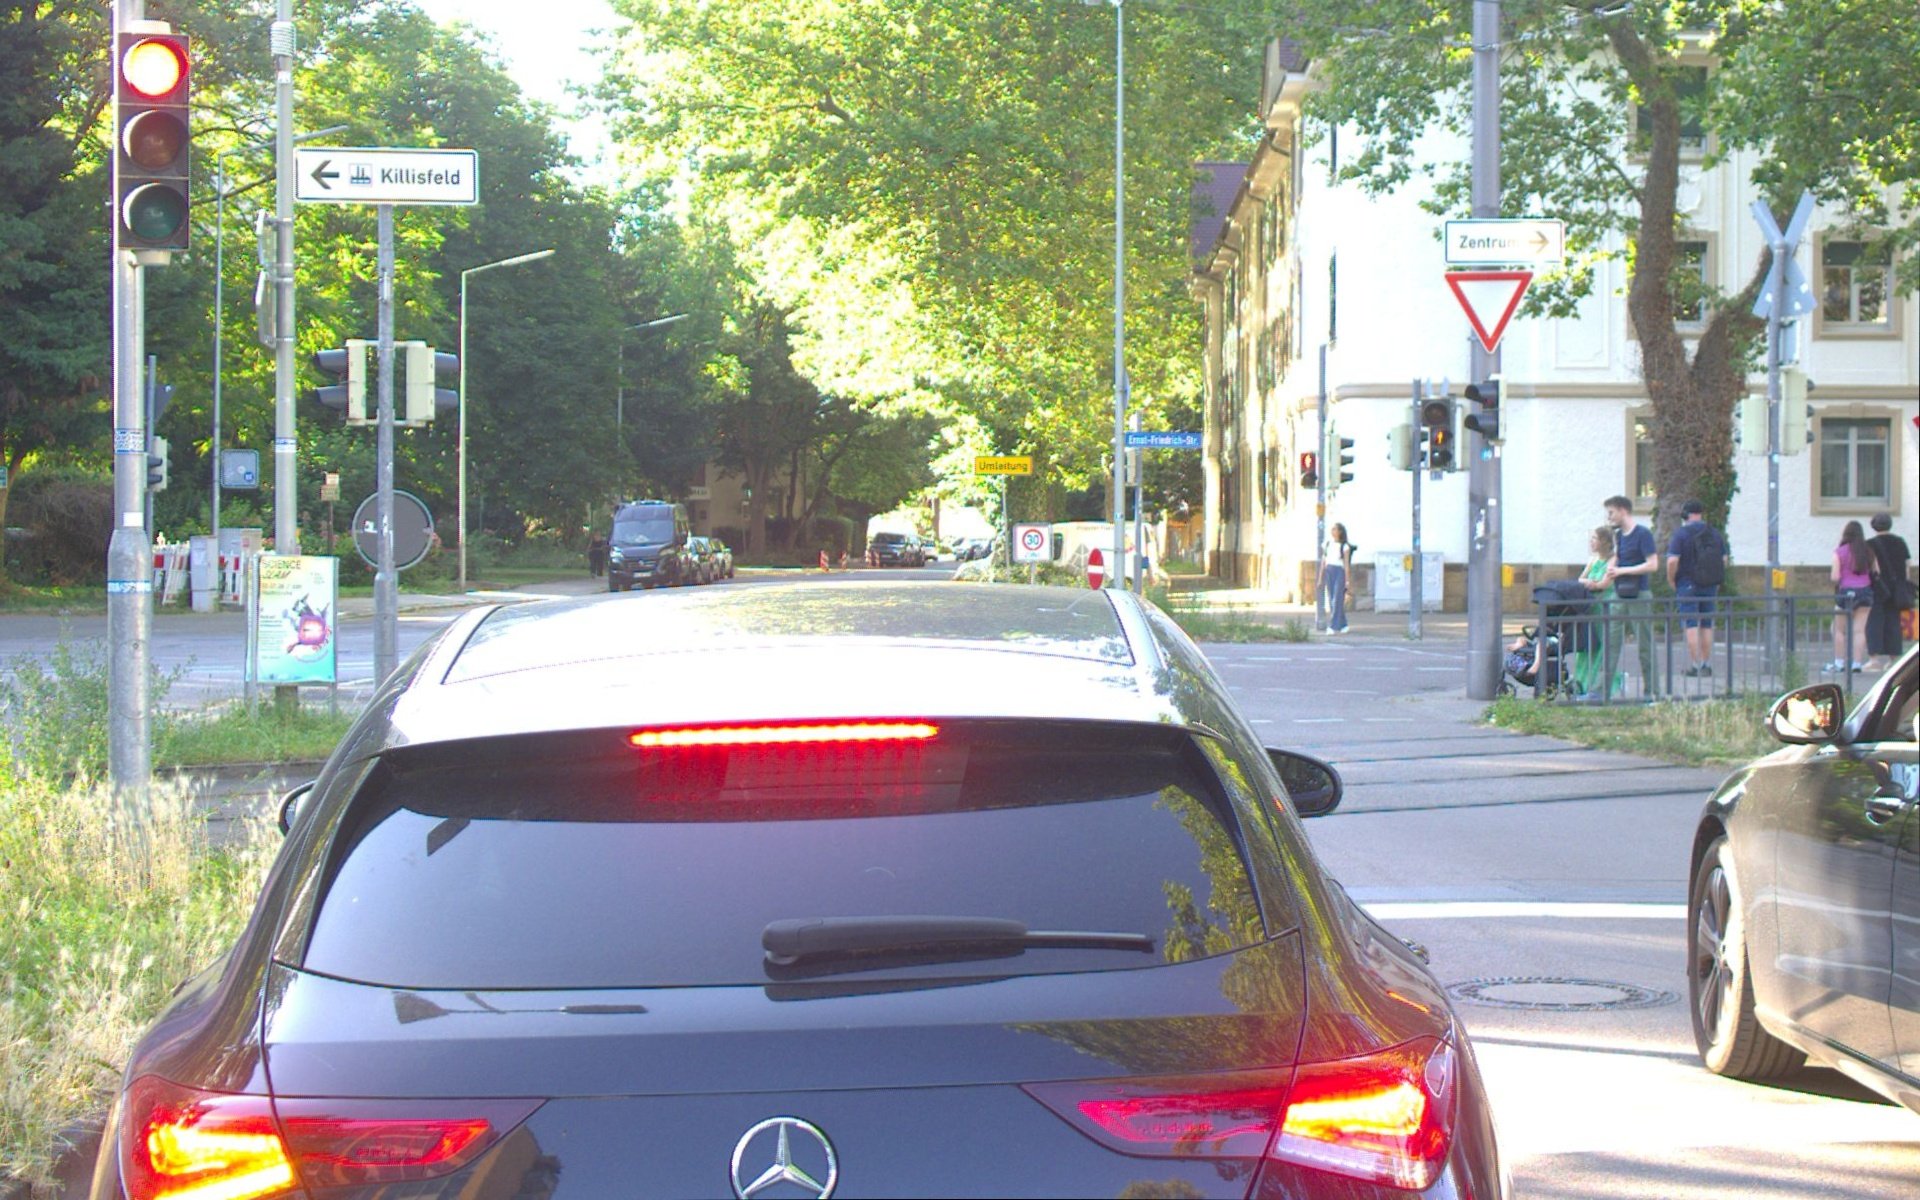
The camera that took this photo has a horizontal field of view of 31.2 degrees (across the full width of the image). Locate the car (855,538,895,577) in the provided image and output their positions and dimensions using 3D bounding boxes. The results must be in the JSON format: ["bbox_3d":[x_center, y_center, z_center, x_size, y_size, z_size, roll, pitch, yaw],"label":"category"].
[{"bbox_3d":[-3.903,-1.958,158.464,1.733,1.759,4.019,1,1,-1],"label":"car"}]

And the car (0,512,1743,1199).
[{"bbox_3d":[-0.163,0.652,5.402,1.889,1.445,4.001,1,3,1],"label":"car"}]

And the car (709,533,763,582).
[{"bbox_3d":[-8.229,-1.556,126.401,1.733,1.759,3.971,1,1,-1],"label":"car"}]

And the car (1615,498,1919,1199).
[{"bbox_3d":[2.829,0.592,7.247,1.889,1.485,4.382,1,3,-2],"label":"car"}]

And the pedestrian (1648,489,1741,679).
[{"bbox_3d":[7.525,-0.169,35.236,0.705,1.911,0.839,1,0,-4],"label":"pedestrian"}]

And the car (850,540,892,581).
[{"bbox_3d":[-3.881,-1.736,150.381,1.733,1.759,4.019,1,1,-1],"label":"car"}]

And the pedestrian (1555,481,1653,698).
[{"bbox_3d":[5.784,-0.096,30.889,0.682,1.911,0.707,1,0,-4],"label":"pedestrian"}]

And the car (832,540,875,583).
[{"bbox_3d":[-4.484,-1.636,145.561,1.733,1.759,4.019,1,1,-1],"label":"car"}]

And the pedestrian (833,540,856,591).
[{"bbox_3d":[-4.369,-1.315,130.025,0.705,1.911,0.839,1,0,-10],"label":"pedestrian"}]

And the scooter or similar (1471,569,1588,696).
[{"bbox_3d":[5.042,0.281,30.491,0.828,1.101,0.809,1,0,-6],"label":"scooter or similar"}]

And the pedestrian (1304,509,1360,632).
[{"bbox_3d":[5.843,-0.465,54.015,0.705,1.911,0.839,1,0,-4],"label":"pedestrian"}]

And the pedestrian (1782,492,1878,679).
[{"bbox_3d":[9.022,-0.151,35.668,0.705,1.911,0.839,1,0,-4],"label":"pedestrian"}]

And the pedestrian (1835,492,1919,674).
[{"bbox_3d":[9.832,-0.179,36.668,0.705,1.911,0.839,1,0,-4],"label":"pedestrian"}]

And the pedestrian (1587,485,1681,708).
[{"bbox_3d":[5.859,-0.033,29.908,0.682,1.911,0.707,1,0,3],"label":"pedestrian"}]

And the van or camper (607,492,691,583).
[{"bbox_3d":[-8.995,-1.797,99.736,1.993,2.532,4.651,1,1,0],"label":"van or camper"}]

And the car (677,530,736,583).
[{"bbox_3d":[-8.613,-1.468,117.065,1.733,1.759,4.085,1,1,-1],"label":"car"}]
